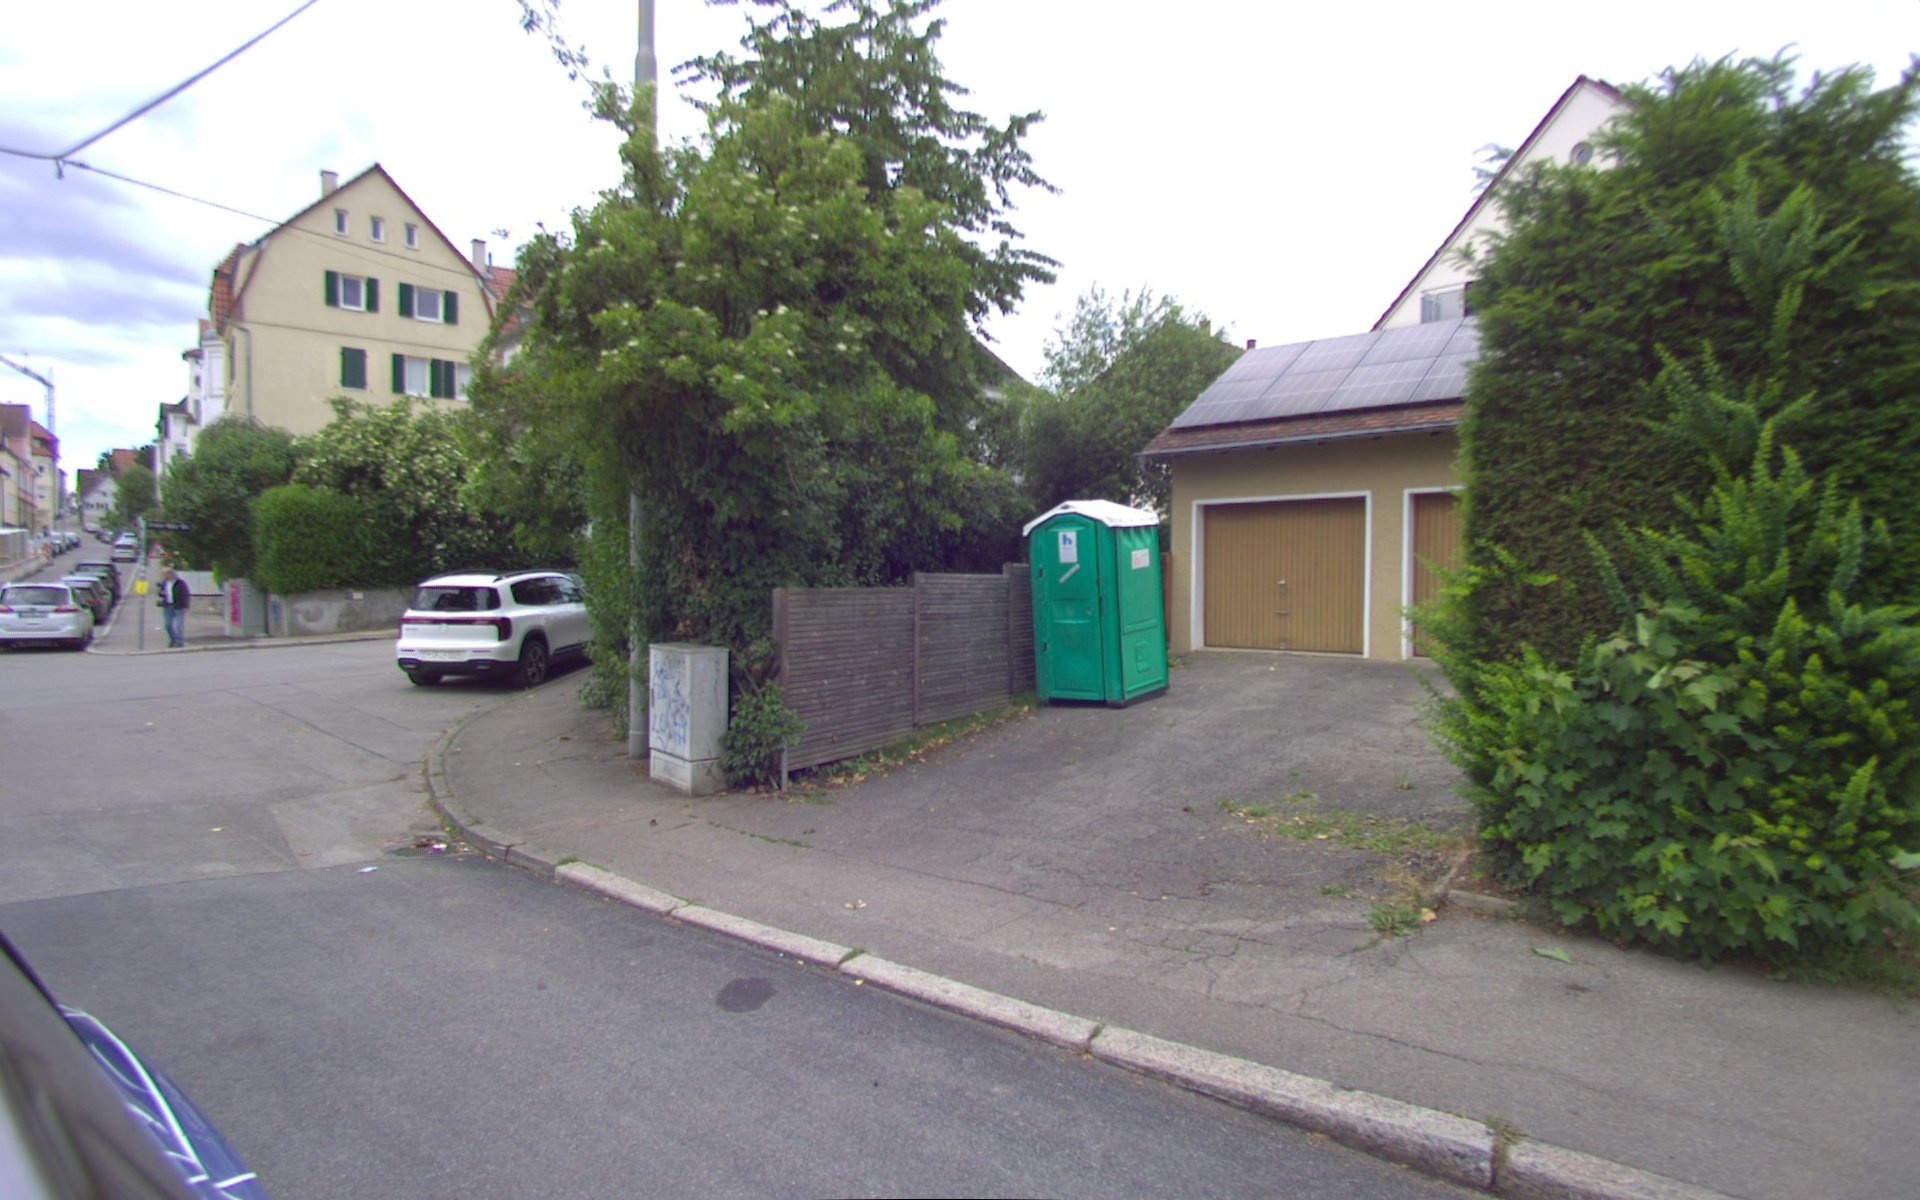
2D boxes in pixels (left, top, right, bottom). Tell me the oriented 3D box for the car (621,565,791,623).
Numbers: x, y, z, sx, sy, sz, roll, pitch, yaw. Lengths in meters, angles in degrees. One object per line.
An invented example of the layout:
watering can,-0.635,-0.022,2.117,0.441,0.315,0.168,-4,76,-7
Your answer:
car,-7.516,-0.238,30.282,1.887,1.493,4.670,1,3,41

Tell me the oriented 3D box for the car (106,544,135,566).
car,-67.987,-3.668,81.957,1.637,1.578,4.010,0,4,-37

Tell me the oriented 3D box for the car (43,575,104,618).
car,-34.762,-0.170,39.774,1.618,1.439,4.132,1,2,-39

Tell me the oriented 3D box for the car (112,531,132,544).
car,-106.086,-7.902,128.133,1.755,1.578,4.010,-1,4,-37

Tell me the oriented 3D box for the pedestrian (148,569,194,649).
pedestrian,-18.046,0.194,23.169,0.633,1.773,0.825,-3,2,-28

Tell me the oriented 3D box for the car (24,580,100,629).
car,-31.383,0.106,35.462,1.779,1.491,4.337,0,2,-39

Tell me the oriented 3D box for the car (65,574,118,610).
car,-37.316,-0.364,43.545,1.618,1.409,3.711,0,2,-39

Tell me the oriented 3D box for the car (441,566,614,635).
car,-11.161,-0.025,26.248,1.787,1.534,3.668,0,3,42

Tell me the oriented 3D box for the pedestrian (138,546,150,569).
pedestrian,-60.599,-3.168,75.185,0.607,1.668,0.814,-2,4,-37

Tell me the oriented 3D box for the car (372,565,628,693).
car,-7.124,0.336,16.285,1.811,1.667,4.511,-1,3,4

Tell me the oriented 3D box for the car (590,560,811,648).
car,-5.423,0.006,21.739,1.830,1.447,4.464,0,5,34

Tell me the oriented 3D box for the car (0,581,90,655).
car,-22.635,0.396,24.854,1.781,1.672,4.159,0,0,-39

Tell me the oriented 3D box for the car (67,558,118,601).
car,-40.712,-0.969,47.508,1.727,1.810,4.156,1,3,-41
